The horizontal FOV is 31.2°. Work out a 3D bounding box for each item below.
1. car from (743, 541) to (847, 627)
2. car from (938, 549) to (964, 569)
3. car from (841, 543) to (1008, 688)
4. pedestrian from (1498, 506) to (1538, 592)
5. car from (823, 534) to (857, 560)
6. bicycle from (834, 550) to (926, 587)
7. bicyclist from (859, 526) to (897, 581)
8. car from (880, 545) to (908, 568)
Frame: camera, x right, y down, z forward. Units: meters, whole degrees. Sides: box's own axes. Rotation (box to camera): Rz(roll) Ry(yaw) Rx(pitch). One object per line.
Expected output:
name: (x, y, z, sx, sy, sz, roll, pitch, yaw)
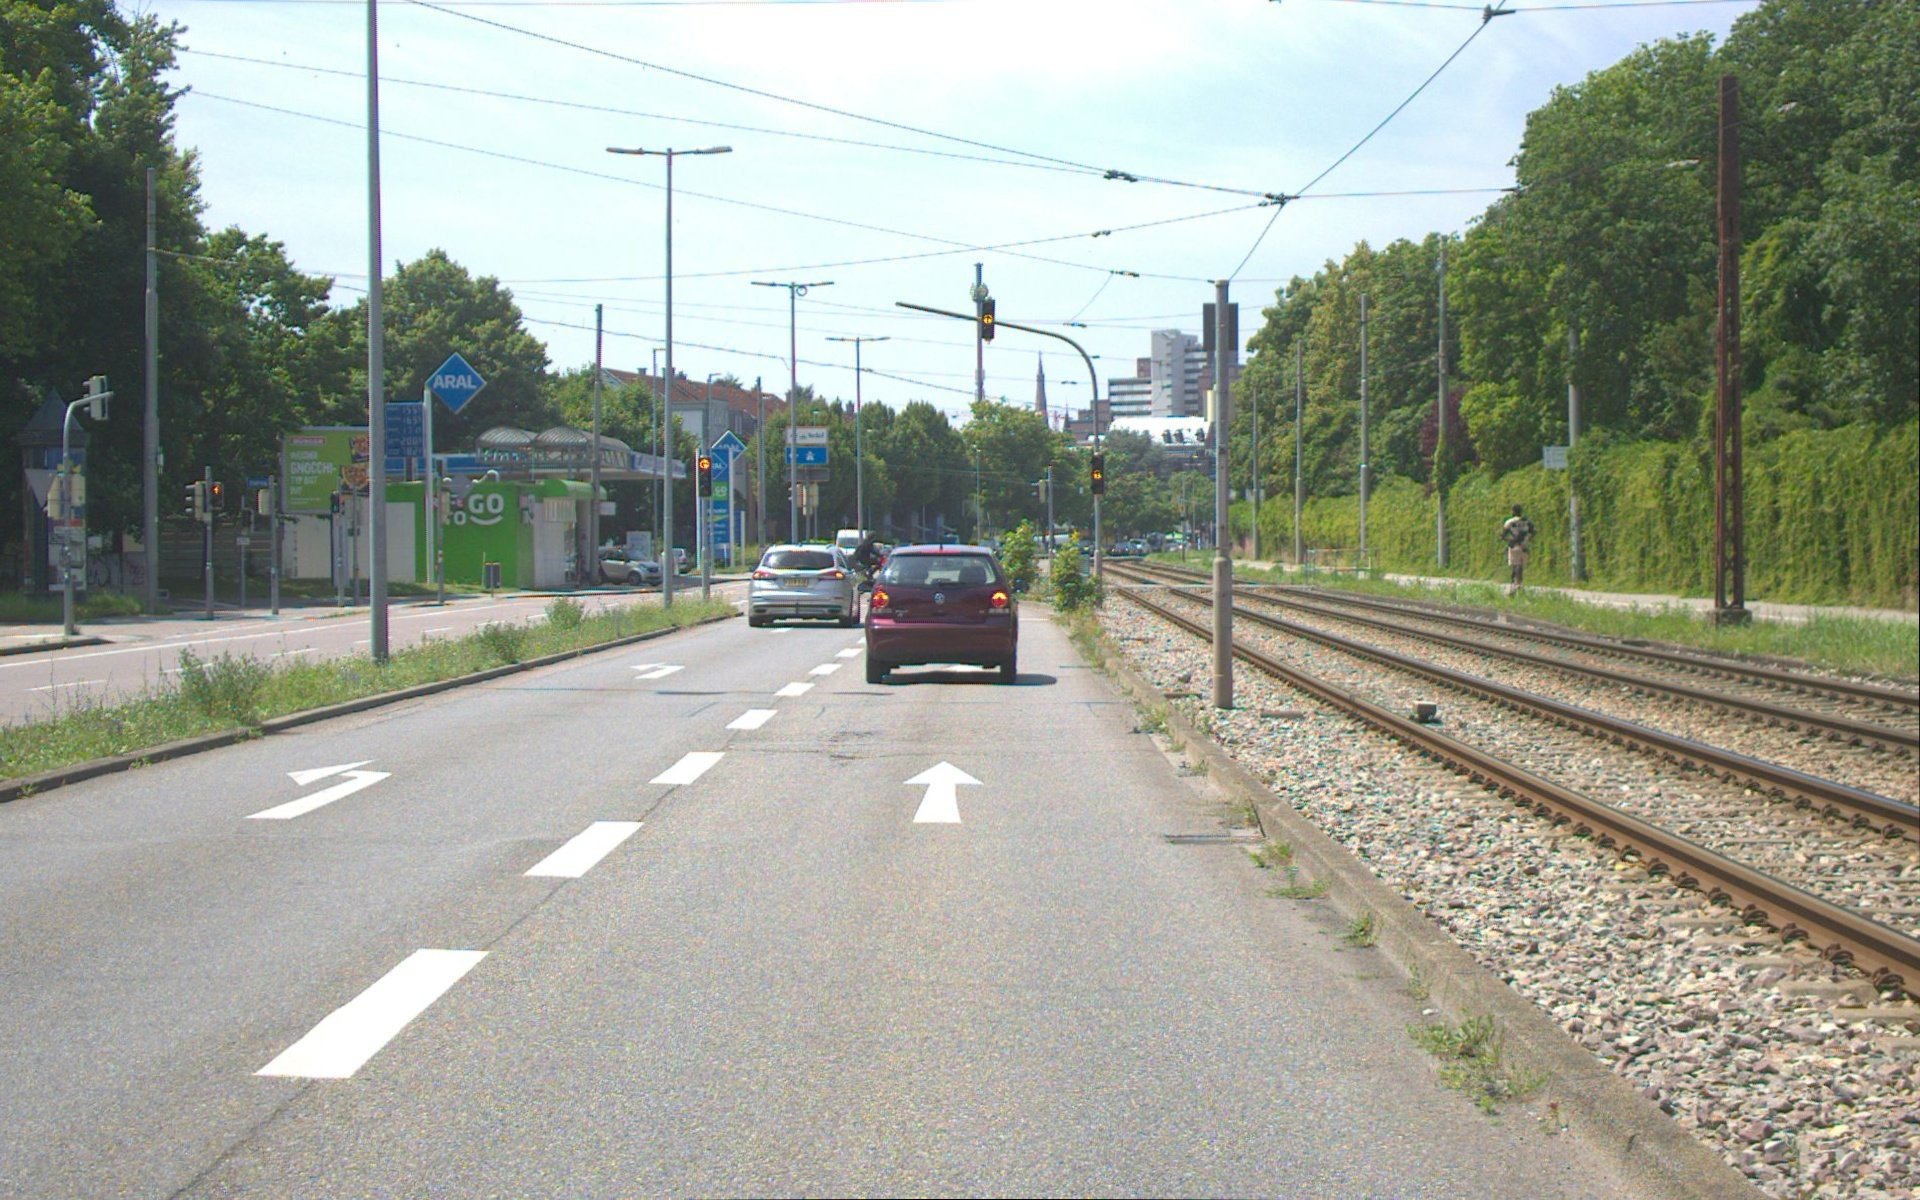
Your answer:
car: (-2.922, -0.300, 61.484, 1.703, 1.475, 3.716, 0, 0, -1)
car: (-0.636, -2.948, 245.345, 1.737, 1.413, 4.000, -1, 1, 2)
car: (-0.399, 0.128, 37.593, 1.703, 1.472, 3.717, 1, 1, -1)
pedestrian: (11.202, -1.030, 69.017, 0.661, 1.720, 0.816, -1, 1, 0)
car: (-7.693, -3.358, 219.638, 1.993, 1.590, 4.001, 1, 0, -4)
bicycle: (-2.327, -0.911, 99.670, 2.549, 1.034, 1.088, 1, 0, -8)
bicyclist: (-2.373, -1.342, 99.686, 0.944, 1.588, 1.088, 1, 0, -8)
car: (-4.772, -3.150, 248.182, 1.748, 1.680, 4.000, -1, 1, 2)
